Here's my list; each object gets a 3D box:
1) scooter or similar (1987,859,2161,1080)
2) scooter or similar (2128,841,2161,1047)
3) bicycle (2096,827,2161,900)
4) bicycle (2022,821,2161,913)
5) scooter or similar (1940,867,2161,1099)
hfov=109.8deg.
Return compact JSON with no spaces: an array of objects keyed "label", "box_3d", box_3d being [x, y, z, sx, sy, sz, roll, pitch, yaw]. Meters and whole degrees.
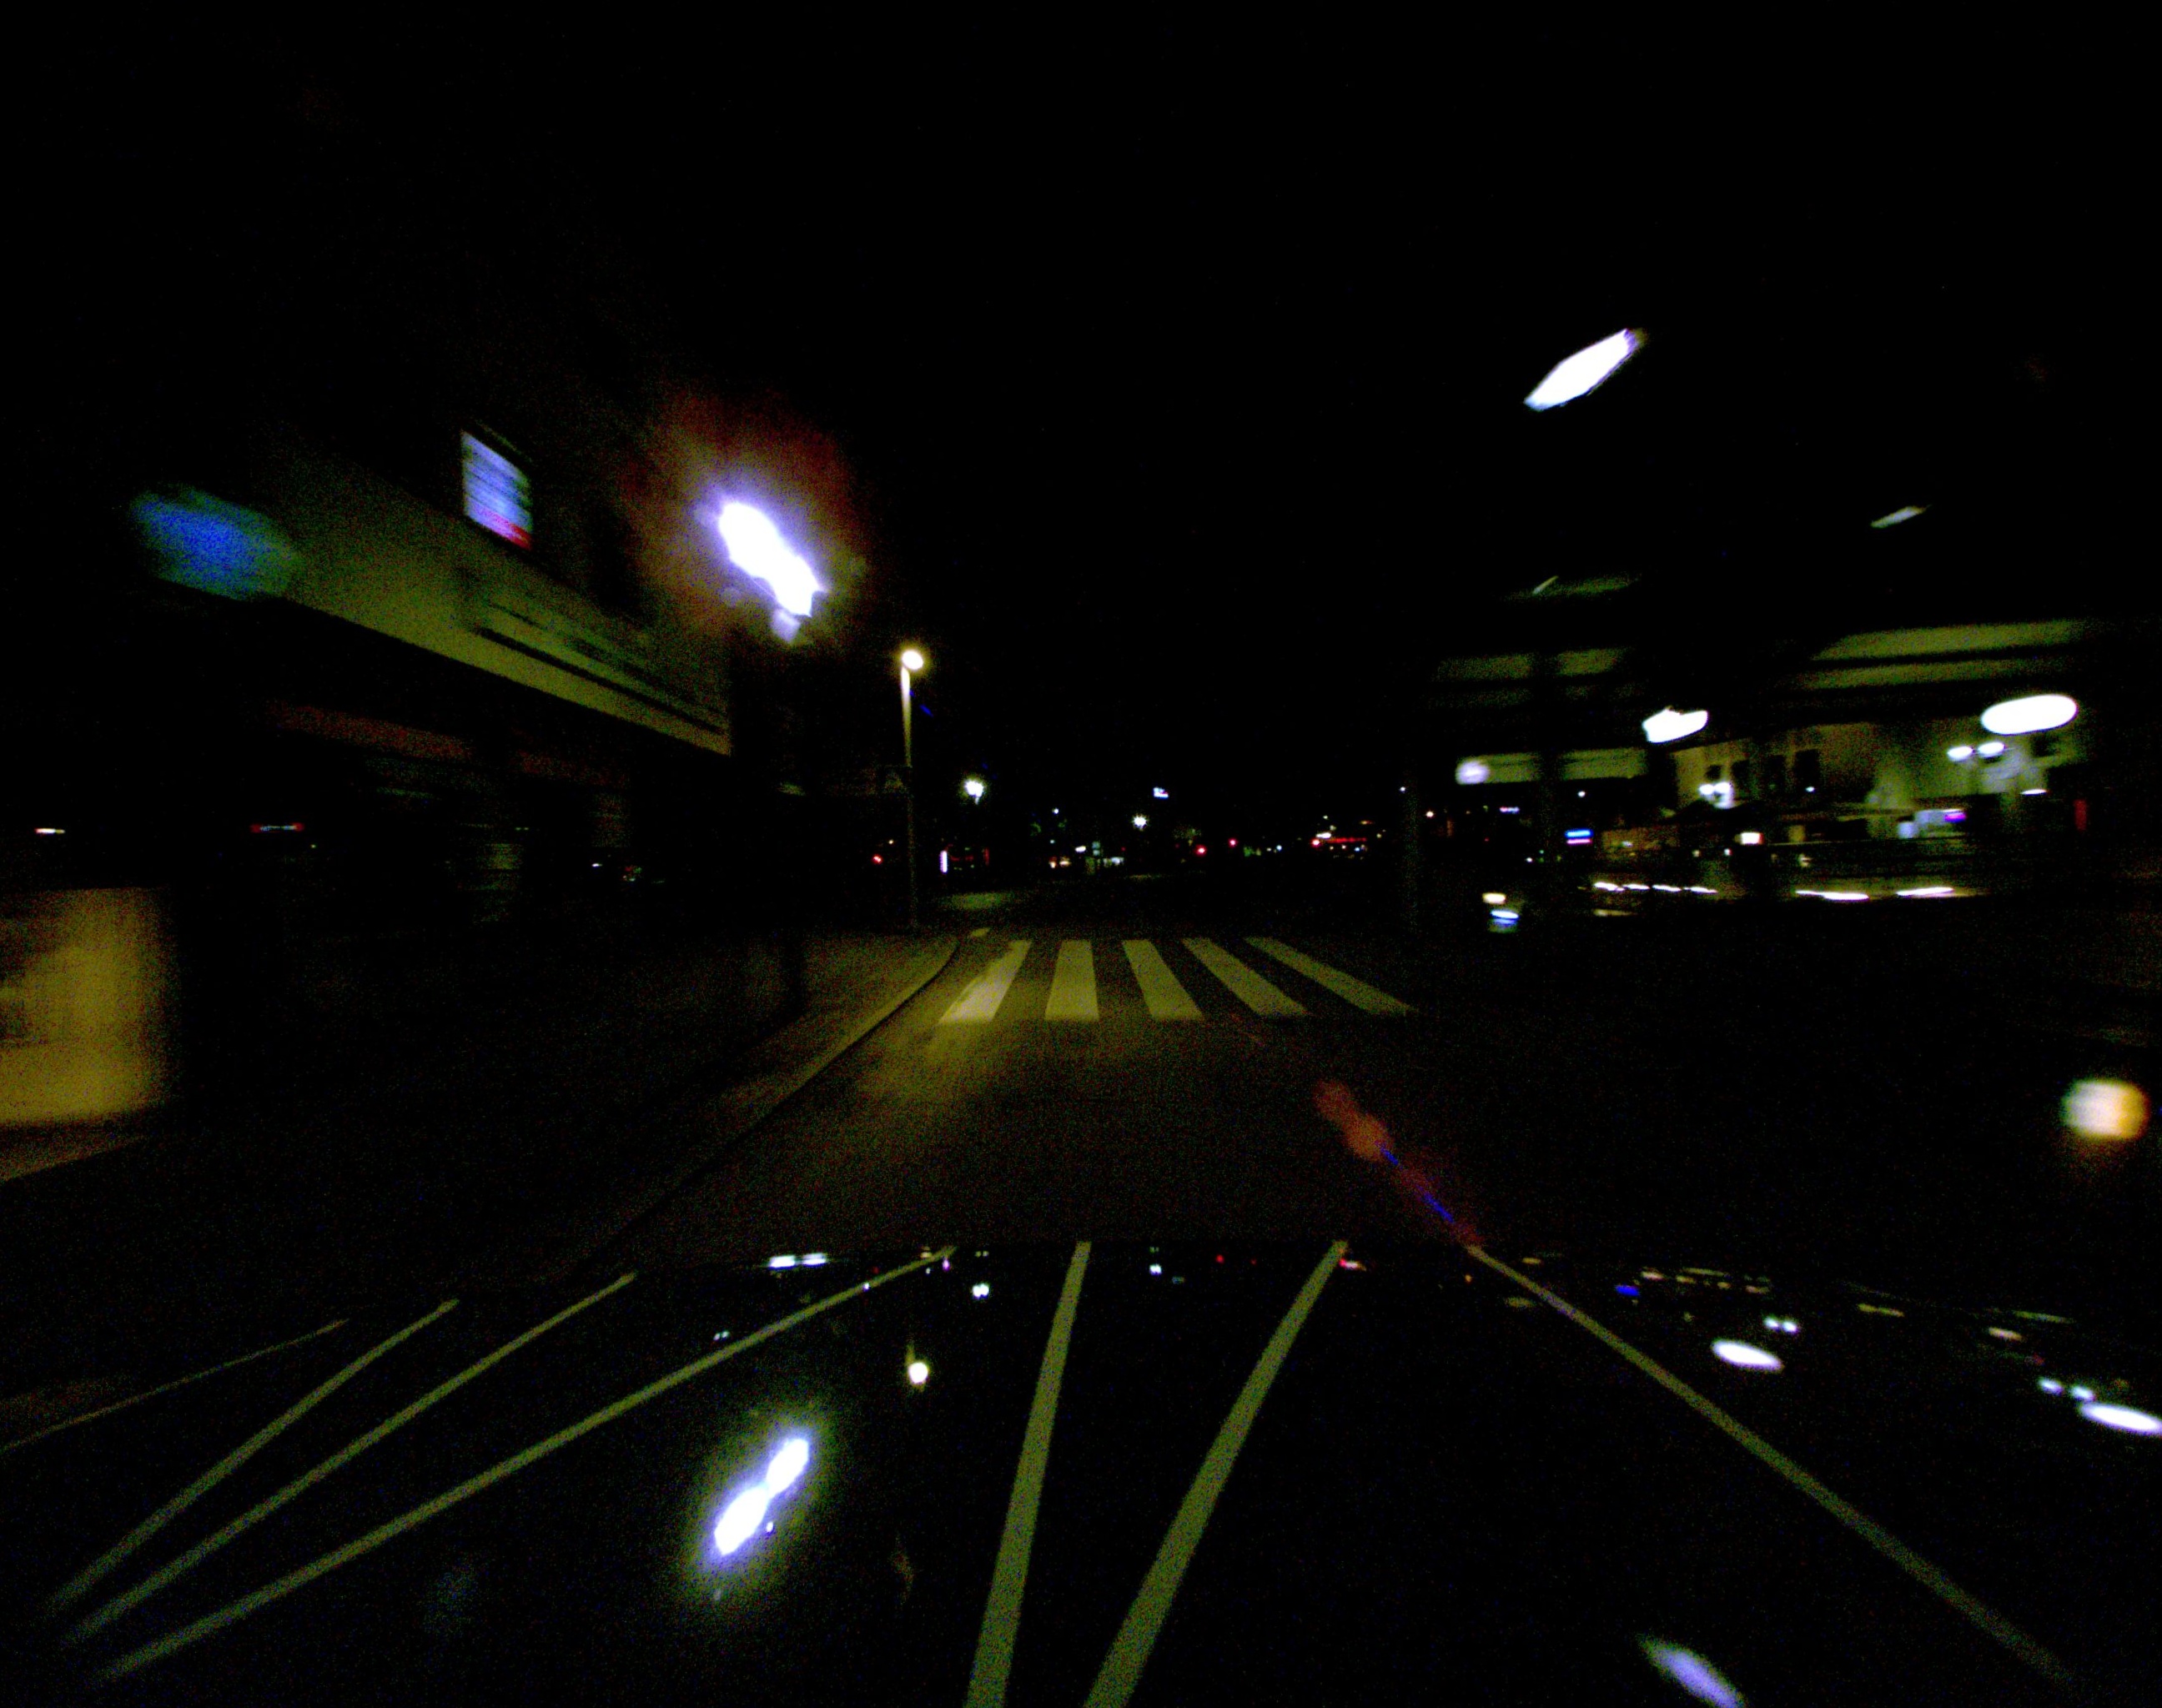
[{"label":"scooter or similar","box_3d":[6.469,0.680,4.555,0.318,1.281,1.449,-4,0,2]},{"label":"scooter or similar","box_3d":[7.491,0.588,4.533,0.597,1.372,1.352,-2,0,1]},{"label":"bicycle","box_3d":[16.854,0.161,11.047,0.861,1.081,2.482,-2,2,0]},{"label":"bicycle","box_3d":[15.316,0.163,10.789,0.861,1.247,2.465,-2,2,0]},{"label":"scooter or similar","box_3d":[6.168,0.724,4.557,0.370,1.256,1.449,-4,0,2]}]
